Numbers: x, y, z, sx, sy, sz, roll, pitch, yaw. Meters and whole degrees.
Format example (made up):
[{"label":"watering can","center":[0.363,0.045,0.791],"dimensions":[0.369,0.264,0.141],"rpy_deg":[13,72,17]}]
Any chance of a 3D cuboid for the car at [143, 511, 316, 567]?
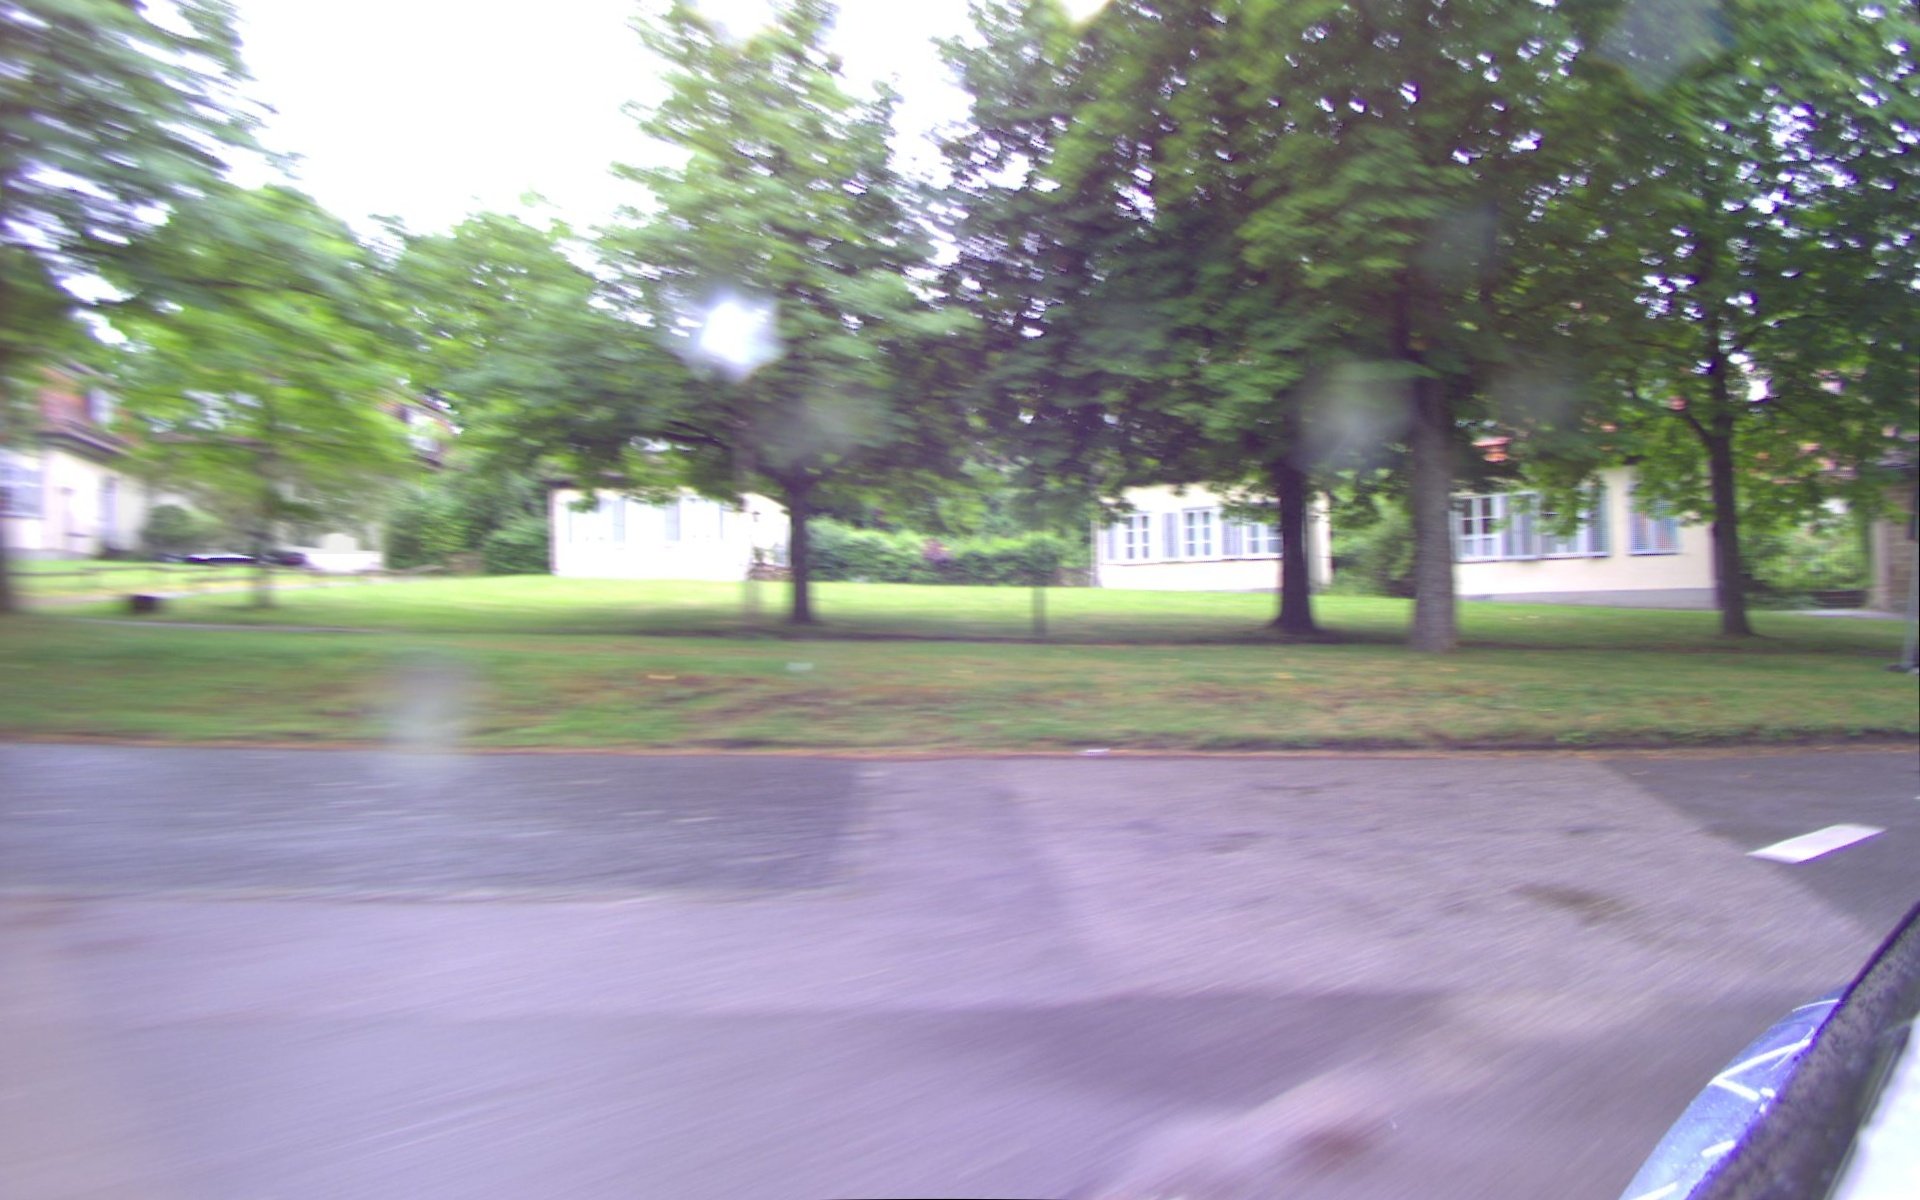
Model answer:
[{"label":"car","center":[-25.425,-2.092,35.395],"dimensions":[4.470,1.859,2.004],"rpy_deg":[0,0,-13]}]
